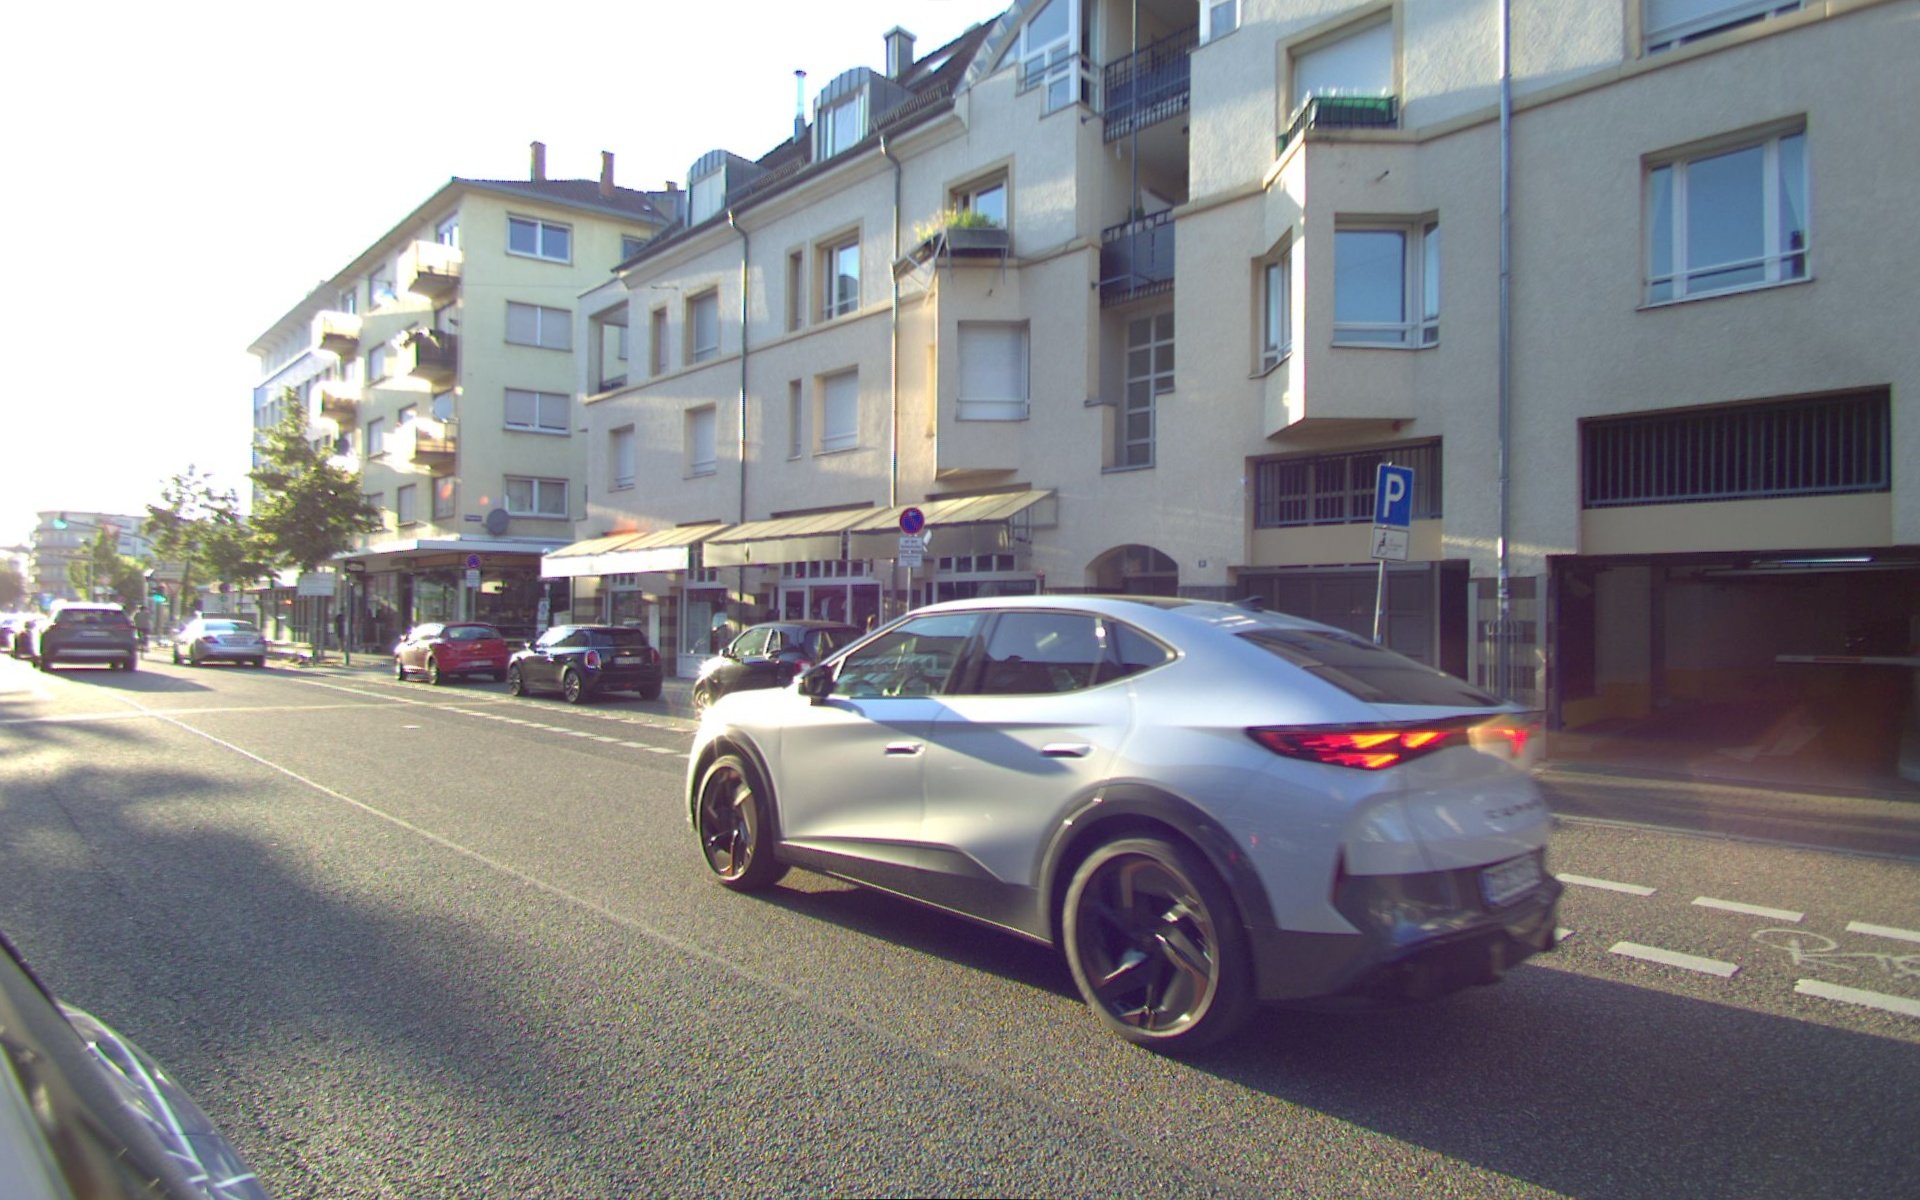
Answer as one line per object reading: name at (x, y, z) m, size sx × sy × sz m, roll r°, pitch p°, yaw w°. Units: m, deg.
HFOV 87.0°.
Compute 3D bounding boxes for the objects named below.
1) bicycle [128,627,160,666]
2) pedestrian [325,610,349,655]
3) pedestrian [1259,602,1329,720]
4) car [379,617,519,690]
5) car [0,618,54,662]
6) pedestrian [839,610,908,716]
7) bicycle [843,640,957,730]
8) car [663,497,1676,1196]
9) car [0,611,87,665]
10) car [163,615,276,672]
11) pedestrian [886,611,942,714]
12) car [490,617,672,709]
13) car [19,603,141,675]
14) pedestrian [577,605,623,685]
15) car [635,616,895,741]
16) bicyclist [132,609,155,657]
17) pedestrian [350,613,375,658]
bicycle at (-27.568, 1.547, 34.175) m, size 0.655 × 1.252 × 2.132 m, roll 4°, pitch -4°, yaw -42°
pedestrian at (-25.559, 1.333, 41.526) m, size 0.667 × 1.805 × 0.710 m, roll -1°, pitch -2°, yaw 45°
pedestrian at (4.596, 0.831, 13.952) m, size 0.767 × 1.584 × 0.534 m, roll 1°, pitch -2°, yaw 0°
car at (-12.331, 1.228, 24.351) m, size 3.787 × 1.592 × 1.770 m, roll -1°, pitch -2°, yaw 43°
car at (-37.926, 1.599, 40.779) m, size 1.817 × 1.661 × 4.303 m, roll 5°, pitch -4°, yaw -45°
pedestrian at (-1.449, 1.028, 16.954) m, size 1.040 × 1.713 × 0.623 m, roll -1°, pitch -2°, yaw 44°
bicycle at (-0.926, 1.219, 15.040) m, size 0.551 × 1.215 × 1.979 m, roll 2°, pitch -2°, yaw -43°
car at (0.526, 0.672, 4.719) m, size 1.851 × 1.710 × 4.325 m, roll 4°, pitch -4°, yaw -43°
car at (-30.901, 1.260, 34.077) m, size 4.302 × 1.661 × 1.817 m, roll -1°, pitch -4°, yaw 44°
car at (-22.616, 1.305, 30.864) m, size 4.405 × 1.617 × 1.971 m, roll -1°, pitch -3°, yaw 44°
pedestrian at (-0.791, 1.049, 17.340) m, size 0.832 × 1.713 × 0.553 m, roll -1°, pitch -2°, yaw 44°
car at (-7.387, 1.141, 19.591) m, size 3.787 × 1.592 × 1.770 m, roll -1°, pitch -2°, yaw 43°
car at (-22.323, 0.965, 25.619) m, size 4.301 × 1.661 × 1.818 m, roll -1°, pitch -4°, yaw 43°
pedestrian at (-8.026, 0.998, 22.588) m, size 0.738 × 1.747 × 0.710 m, roll -1°, pitch -2°, yaw 44°
car at (-2.974, 1.052, 15.000) m, size 3.966 × 1.592 × 1.770 m, roll -1°, pitch -2°, yaw 42°
bicyclist at (-27.683, 1.123, 34.302) m, size 0.540 × 1.593 × 0.804 m, roll 1°, pitch -2°, yaw -42°
pedestrian at (-23.795, 1.405, 40.298) m, size 0.667 × 1.805 × 0.710 m, roll -1°, pitch -2°, yaw 45°
